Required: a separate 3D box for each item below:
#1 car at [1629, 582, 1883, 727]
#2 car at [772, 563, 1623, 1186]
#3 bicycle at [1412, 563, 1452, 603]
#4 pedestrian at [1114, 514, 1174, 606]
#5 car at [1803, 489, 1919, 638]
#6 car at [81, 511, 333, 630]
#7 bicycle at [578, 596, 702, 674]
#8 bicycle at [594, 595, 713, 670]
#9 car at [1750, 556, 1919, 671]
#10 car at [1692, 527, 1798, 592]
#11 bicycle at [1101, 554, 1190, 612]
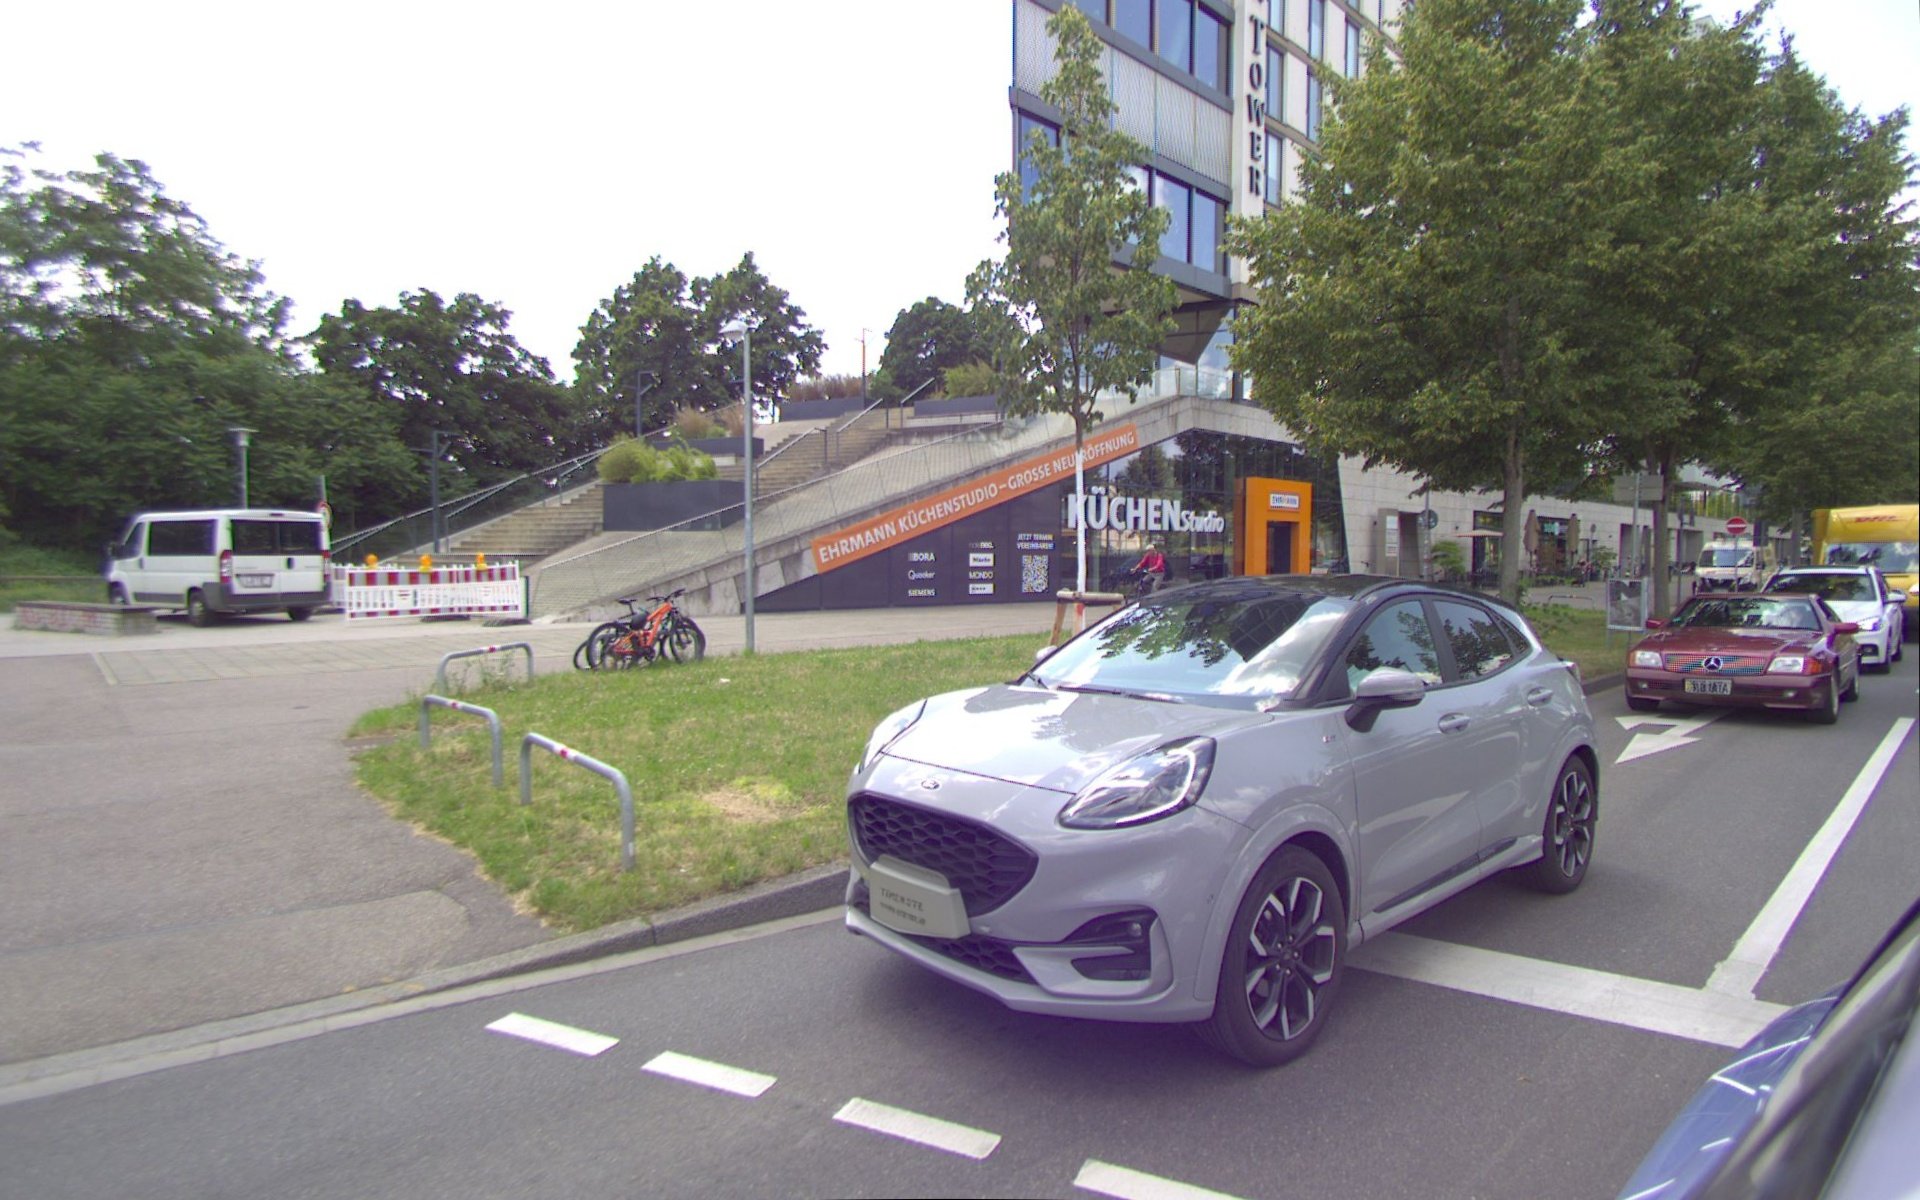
[{"bbox_3d":[9.072,0.471,11.419,4.024,1.277,1.671,-2,3,-43],"label":"car"},{"bbox_3d":[1.349,0.609,4.466,4.023,1.489,1.672,-3,3,-42],"label":"car"},{"bbox_3d":[13.676,-0.513,29.307,0.515,1.101,1.722,3,3,43],"label":"bicycle"},{"bbox_3d":[4.209,-0.903,23.148,1.210,2.038,0.754,-1,2,-40],"label":"pedestrian"},{"bbox_3d":[20.804,-0.833,22.566,7.137,2.888,2.280,-3,2,-44],"label":"car"},{"bbox_3d":[-15.304,-0.613,20.531,5.103,2.174,2.129,1,2,28],"label":"car"},{"bbox_3d":[-3.801,0.395,12.104,0.357,0.836,1.452,2,2,41],"label":"bicycle"},{"bbox_3d":[-3.792,0.383,12.599,0.357,0.836,1.452,2,2,41],"label":"bicycle"},{"bbox_3d":[14.106,0.130,16.237,4.059,1.618,1.671,-2,1,-43],"label":"car"},{"bbox_3d":[31.826,-1.628,40.931,6.169,2.423,2.160,-2,1,-40],"label":"car"},{"bbox_3d":[4.270,-0.408,23.223,0.810,1.259,2.372,2,3,45],"label":"bicycle"}]
